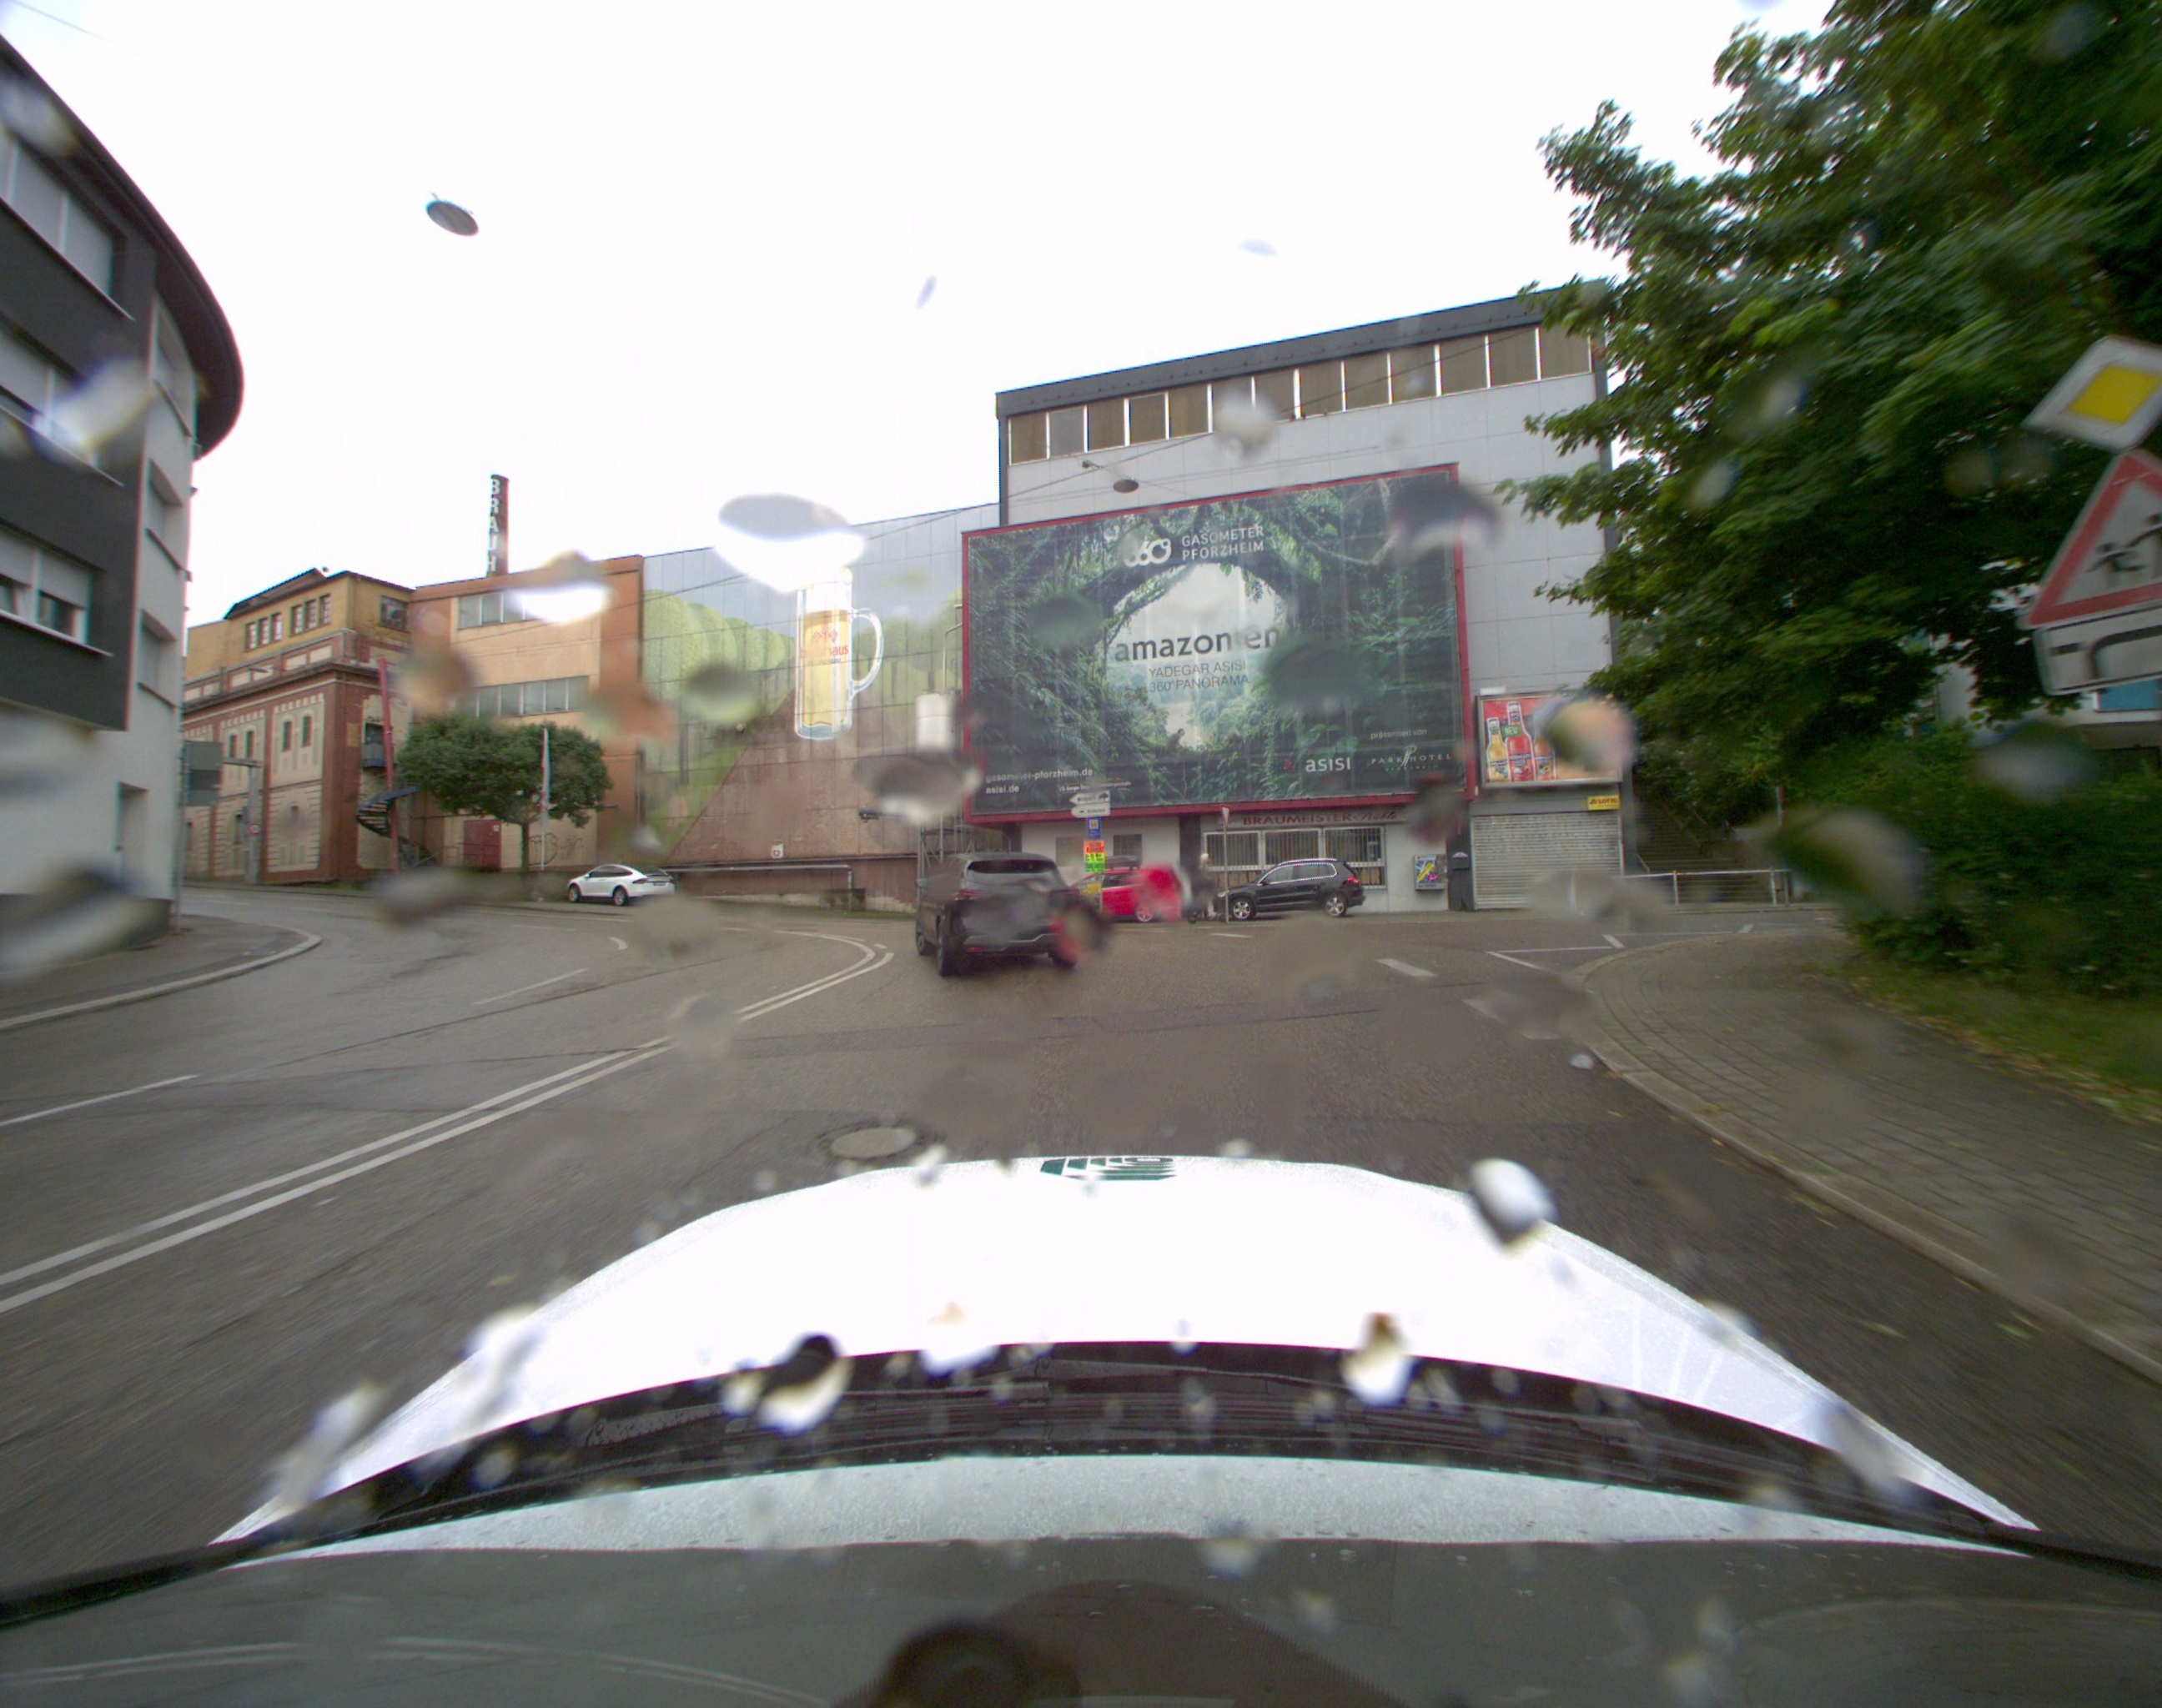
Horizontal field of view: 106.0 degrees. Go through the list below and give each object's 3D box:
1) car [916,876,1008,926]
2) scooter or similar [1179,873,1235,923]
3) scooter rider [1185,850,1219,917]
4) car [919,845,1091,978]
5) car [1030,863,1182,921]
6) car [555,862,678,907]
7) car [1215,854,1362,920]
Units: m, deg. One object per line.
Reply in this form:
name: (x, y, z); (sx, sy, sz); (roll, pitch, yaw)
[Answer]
car: (-4.100, 1.593, 28.688); (1.856, 1.533, 4.006); (-1, 0, 13)
scooter or similar: (3.496, 1.203, 22.554); (1.393, 1.323, 0.808); (-2, -2, 17)
scooter rider: (3.363, 0.815, 22.592); (0.773, 1.821, 0.808); (-2, -2, 17)
car: (-1.310, 0.738, 12.124); (1.884, 1.594, 3.900); (-1, -1, -15)
car: (0.817, 1.215, 25.664); (4.443, 1.712, 1.940); (-1, -3, 16)
car: (-19.113, 1.231, 33.478); (4.855, 1.617, 1.869); (2, -2, 25)
car: (6.072, 0.966, 23.882); (3.957, 1.712, 1.940); (-3, -2, 16)
